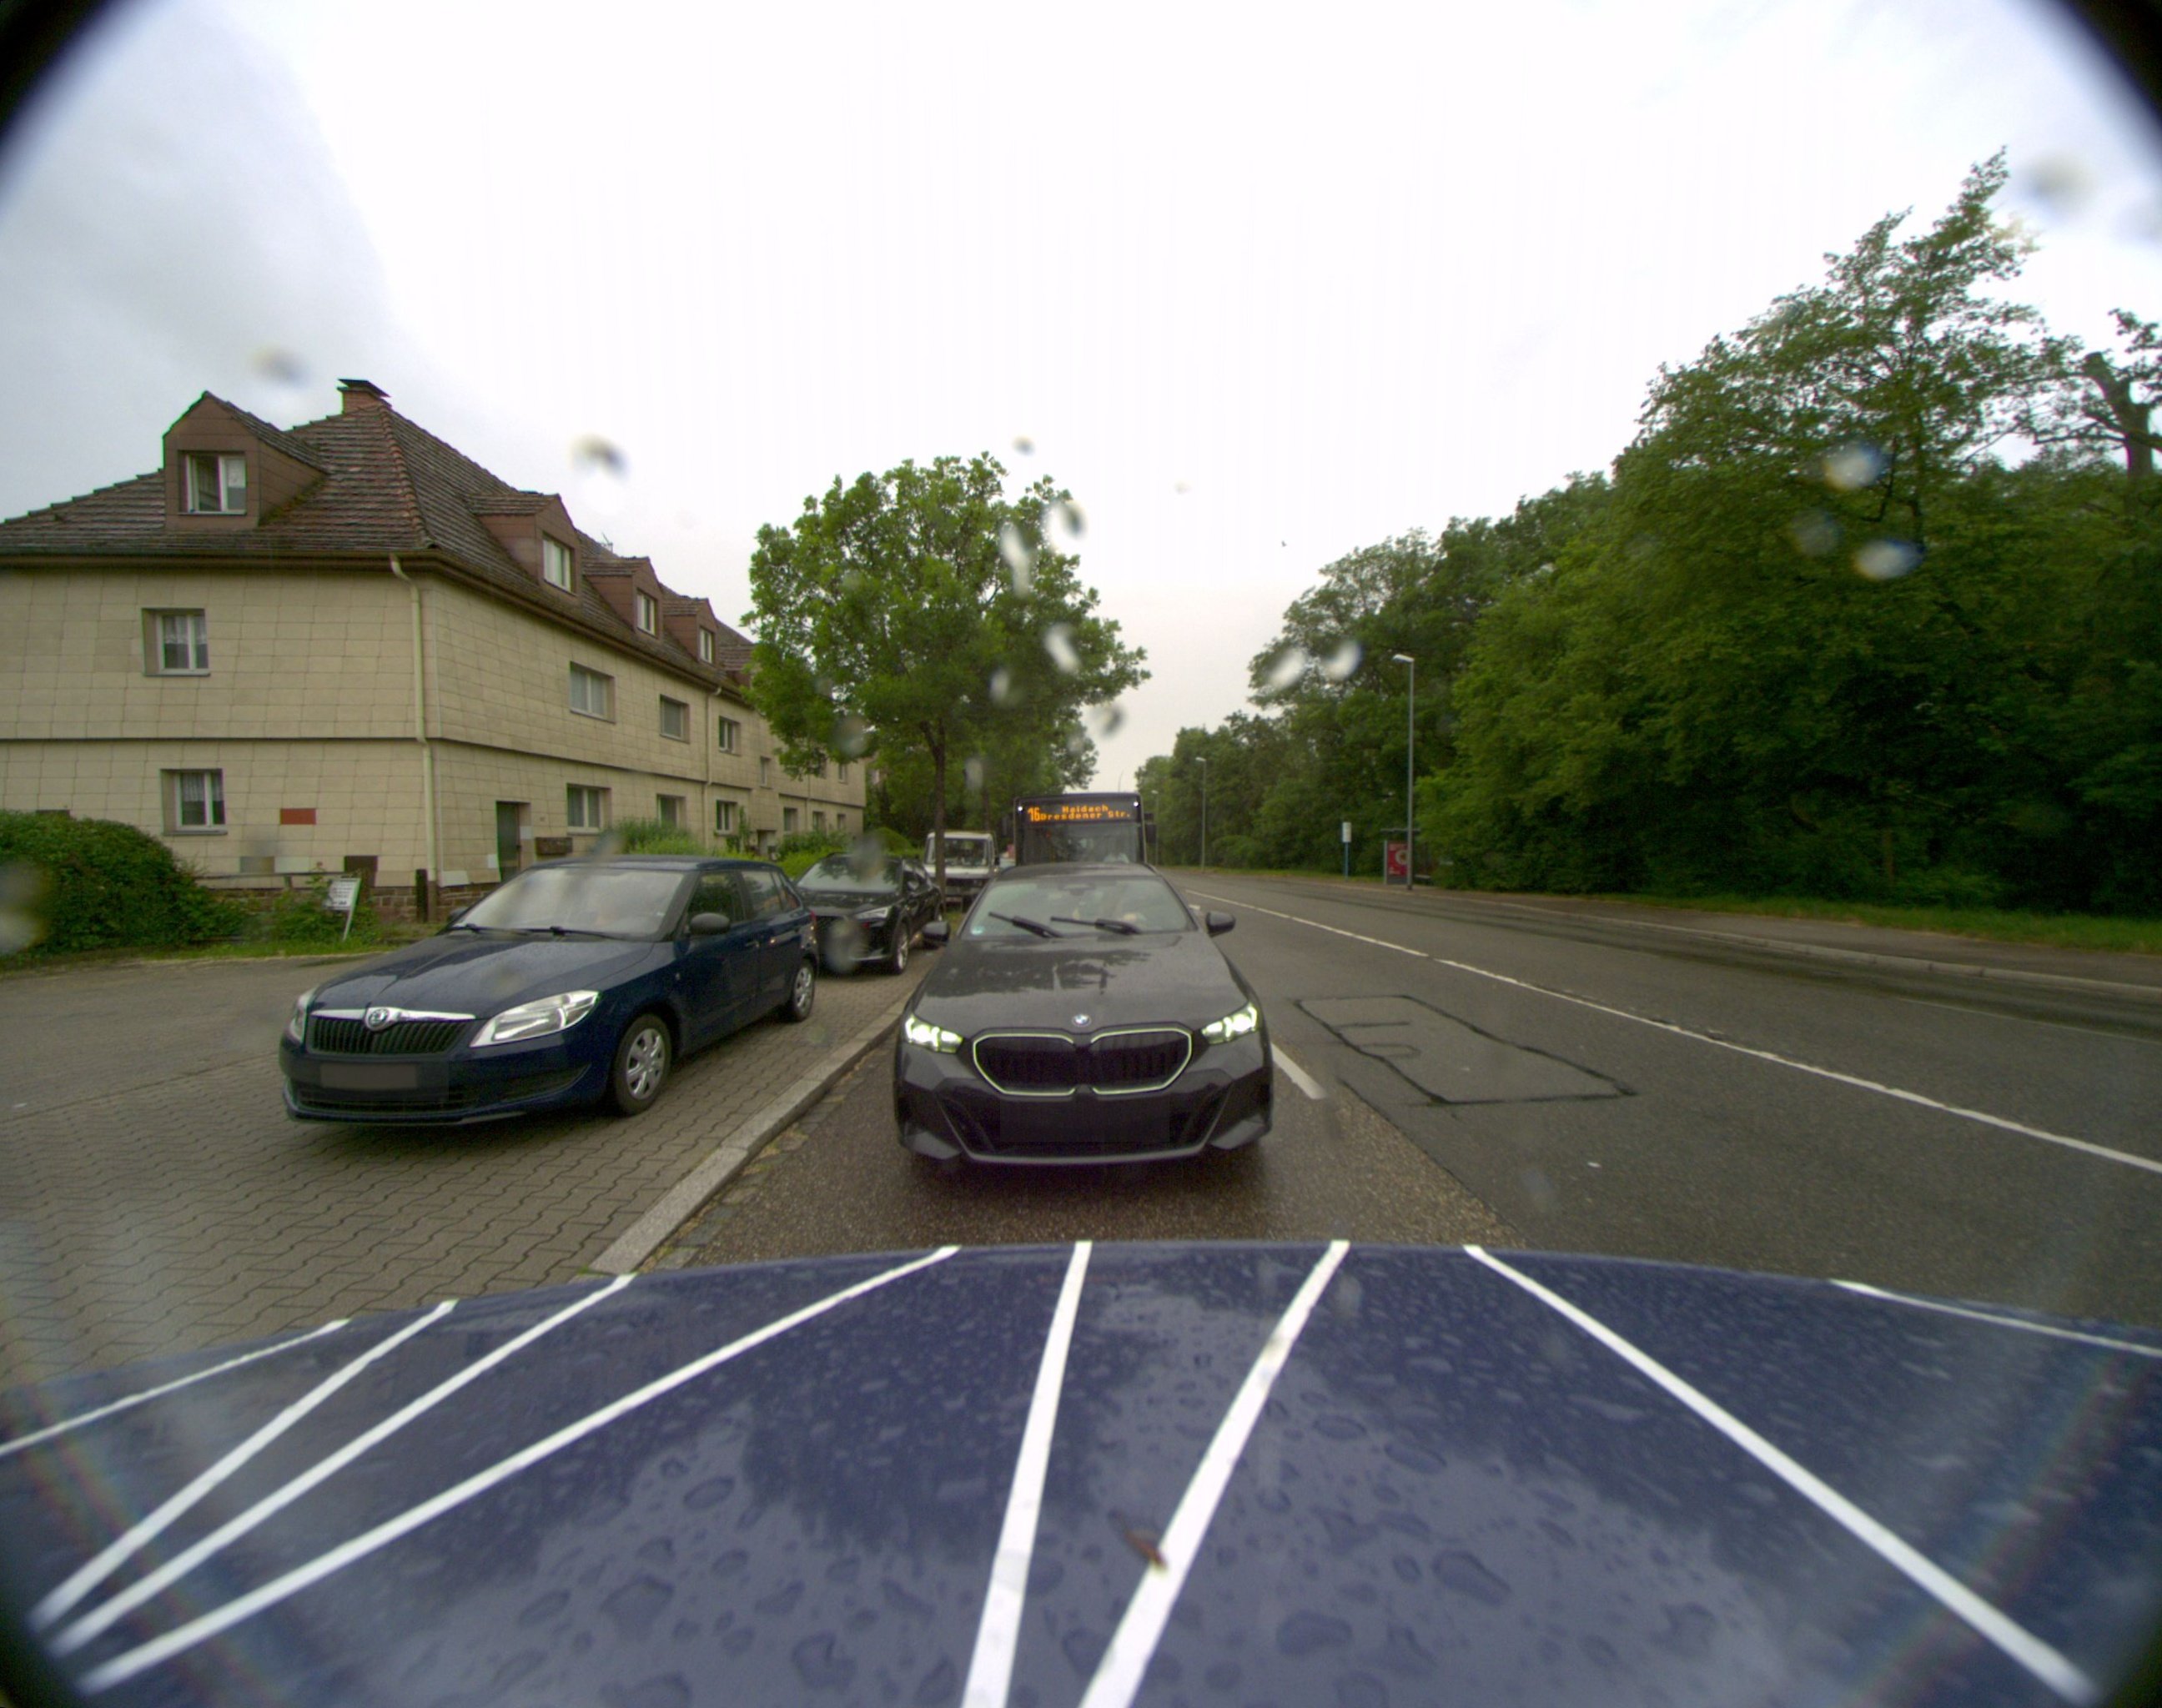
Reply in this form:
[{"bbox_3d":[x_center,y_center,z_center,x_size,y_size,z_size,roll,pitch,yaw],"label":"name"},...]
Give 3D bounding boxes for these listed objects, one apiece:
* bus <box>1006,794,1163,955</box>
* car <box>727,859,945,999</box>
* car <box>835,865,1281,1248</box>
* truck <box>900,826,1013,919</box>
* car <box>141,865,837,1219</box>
[{"bbox_3d":[0.187,0.330,18.614,2.767,2.858,9.403,-2,1,2],"label":"bus"},{"bbox_3d":[-3.083,0.852,10.445,1.720,1.455,3.999,1,1,-1],"label":"car"},{"bbox_3d":[-0.071,0.928,5.496,1.882,1.520,4.316,-3,0,1],"label":"car"},{"bbox_3d":[-3.193,0.447,20.782,1.998,2.184,5.756,0,0,2],"label":"truck"},{"bbox_3d":[-3.253,0.857,5.340,1.720,1.416,3.999,1,1,1],"label":"car"}]
